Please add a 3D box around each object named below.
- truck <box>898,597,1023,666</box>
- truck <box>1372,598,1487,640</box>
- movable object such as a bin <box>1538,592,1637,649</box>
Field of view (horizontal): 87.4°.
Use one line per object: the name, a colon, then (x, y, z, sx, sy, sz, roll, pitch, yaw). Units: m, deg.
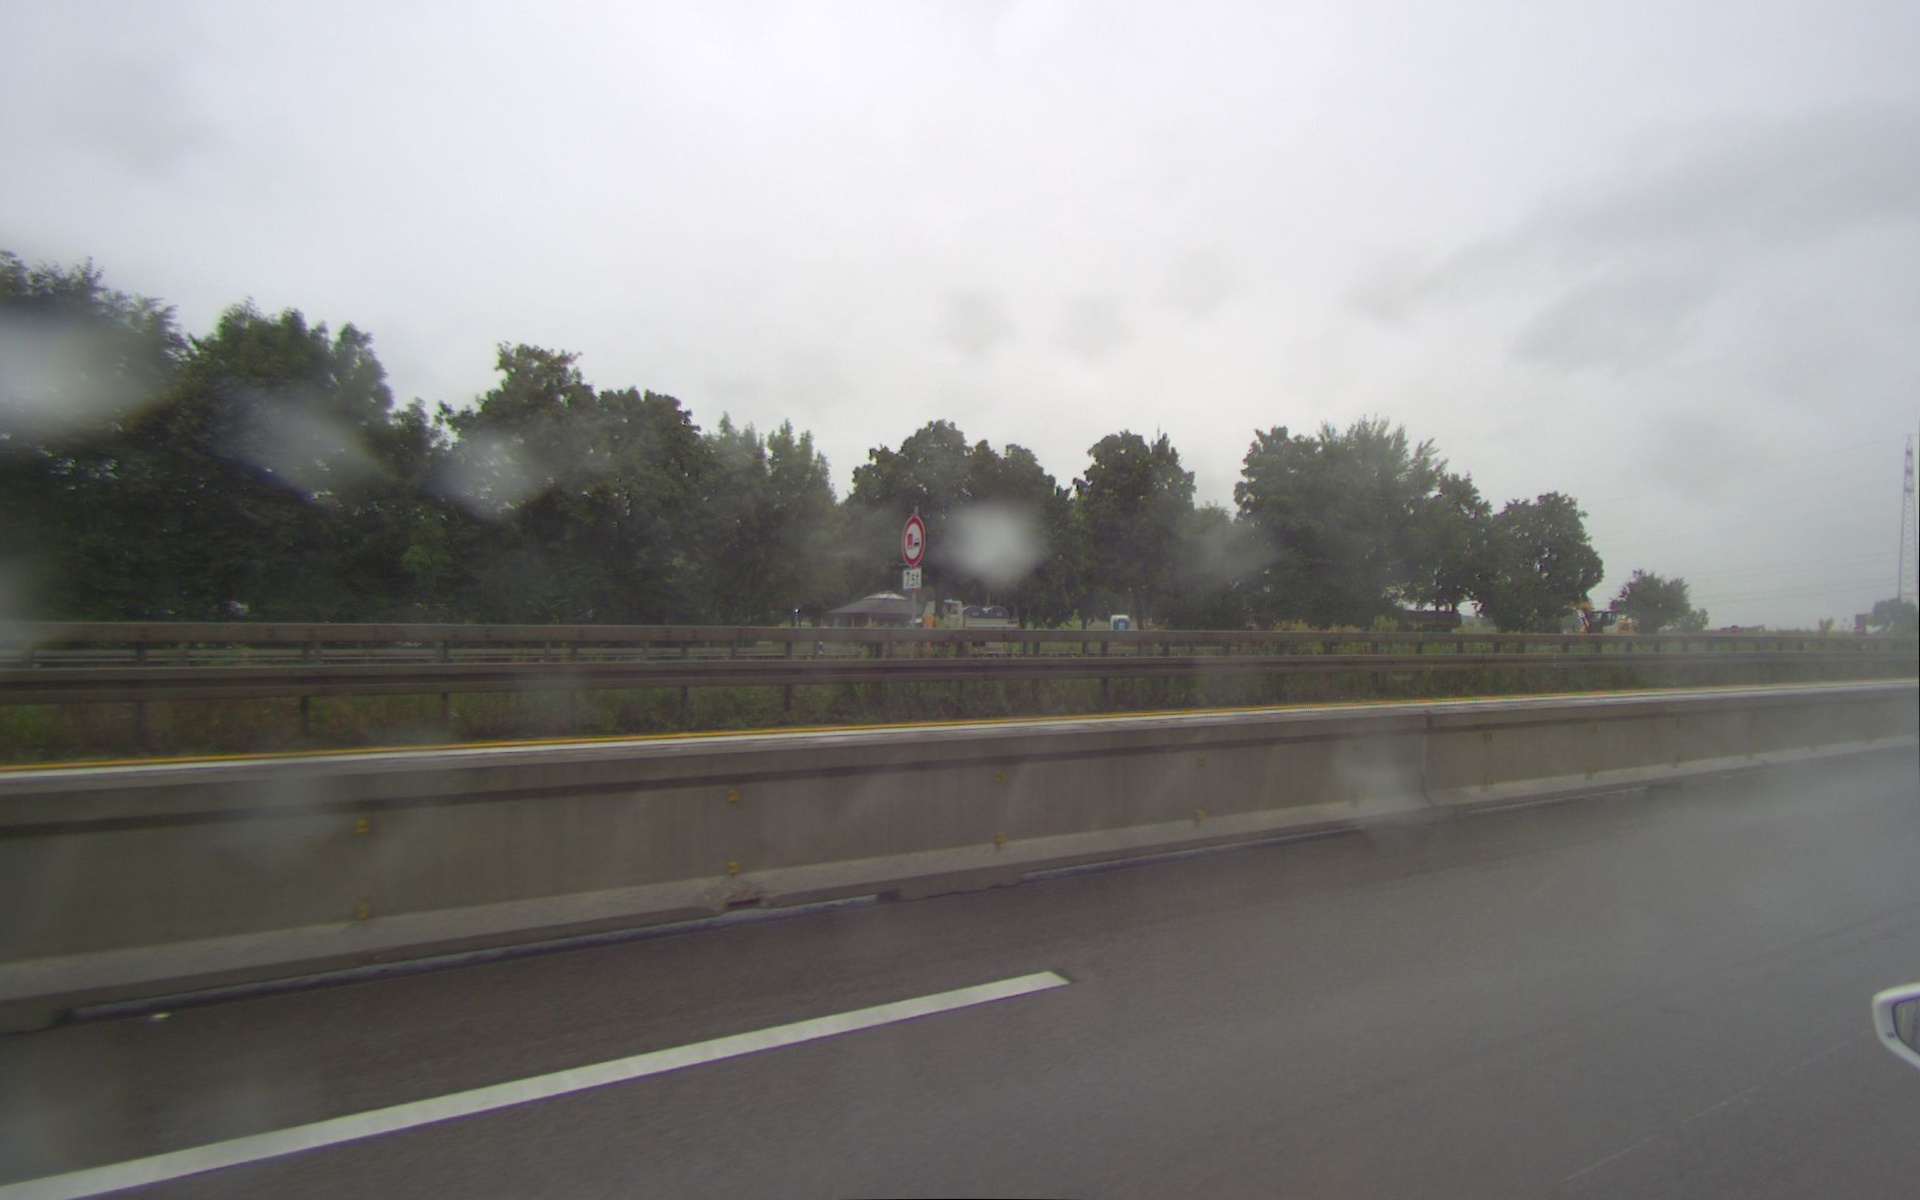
truck: (0.038, 1.636, 51.261, 5.794, 3.255, 2.603, 3, -1, -27)
truck: (32.477, 1.363, 69.371, 8.792, 2.740, 2.504, 1, -1, -29)
movable object such as a bin: (47.711, 1.558, 76.295, 8.365, 3.971, 2.716, 3, -1, -30)
